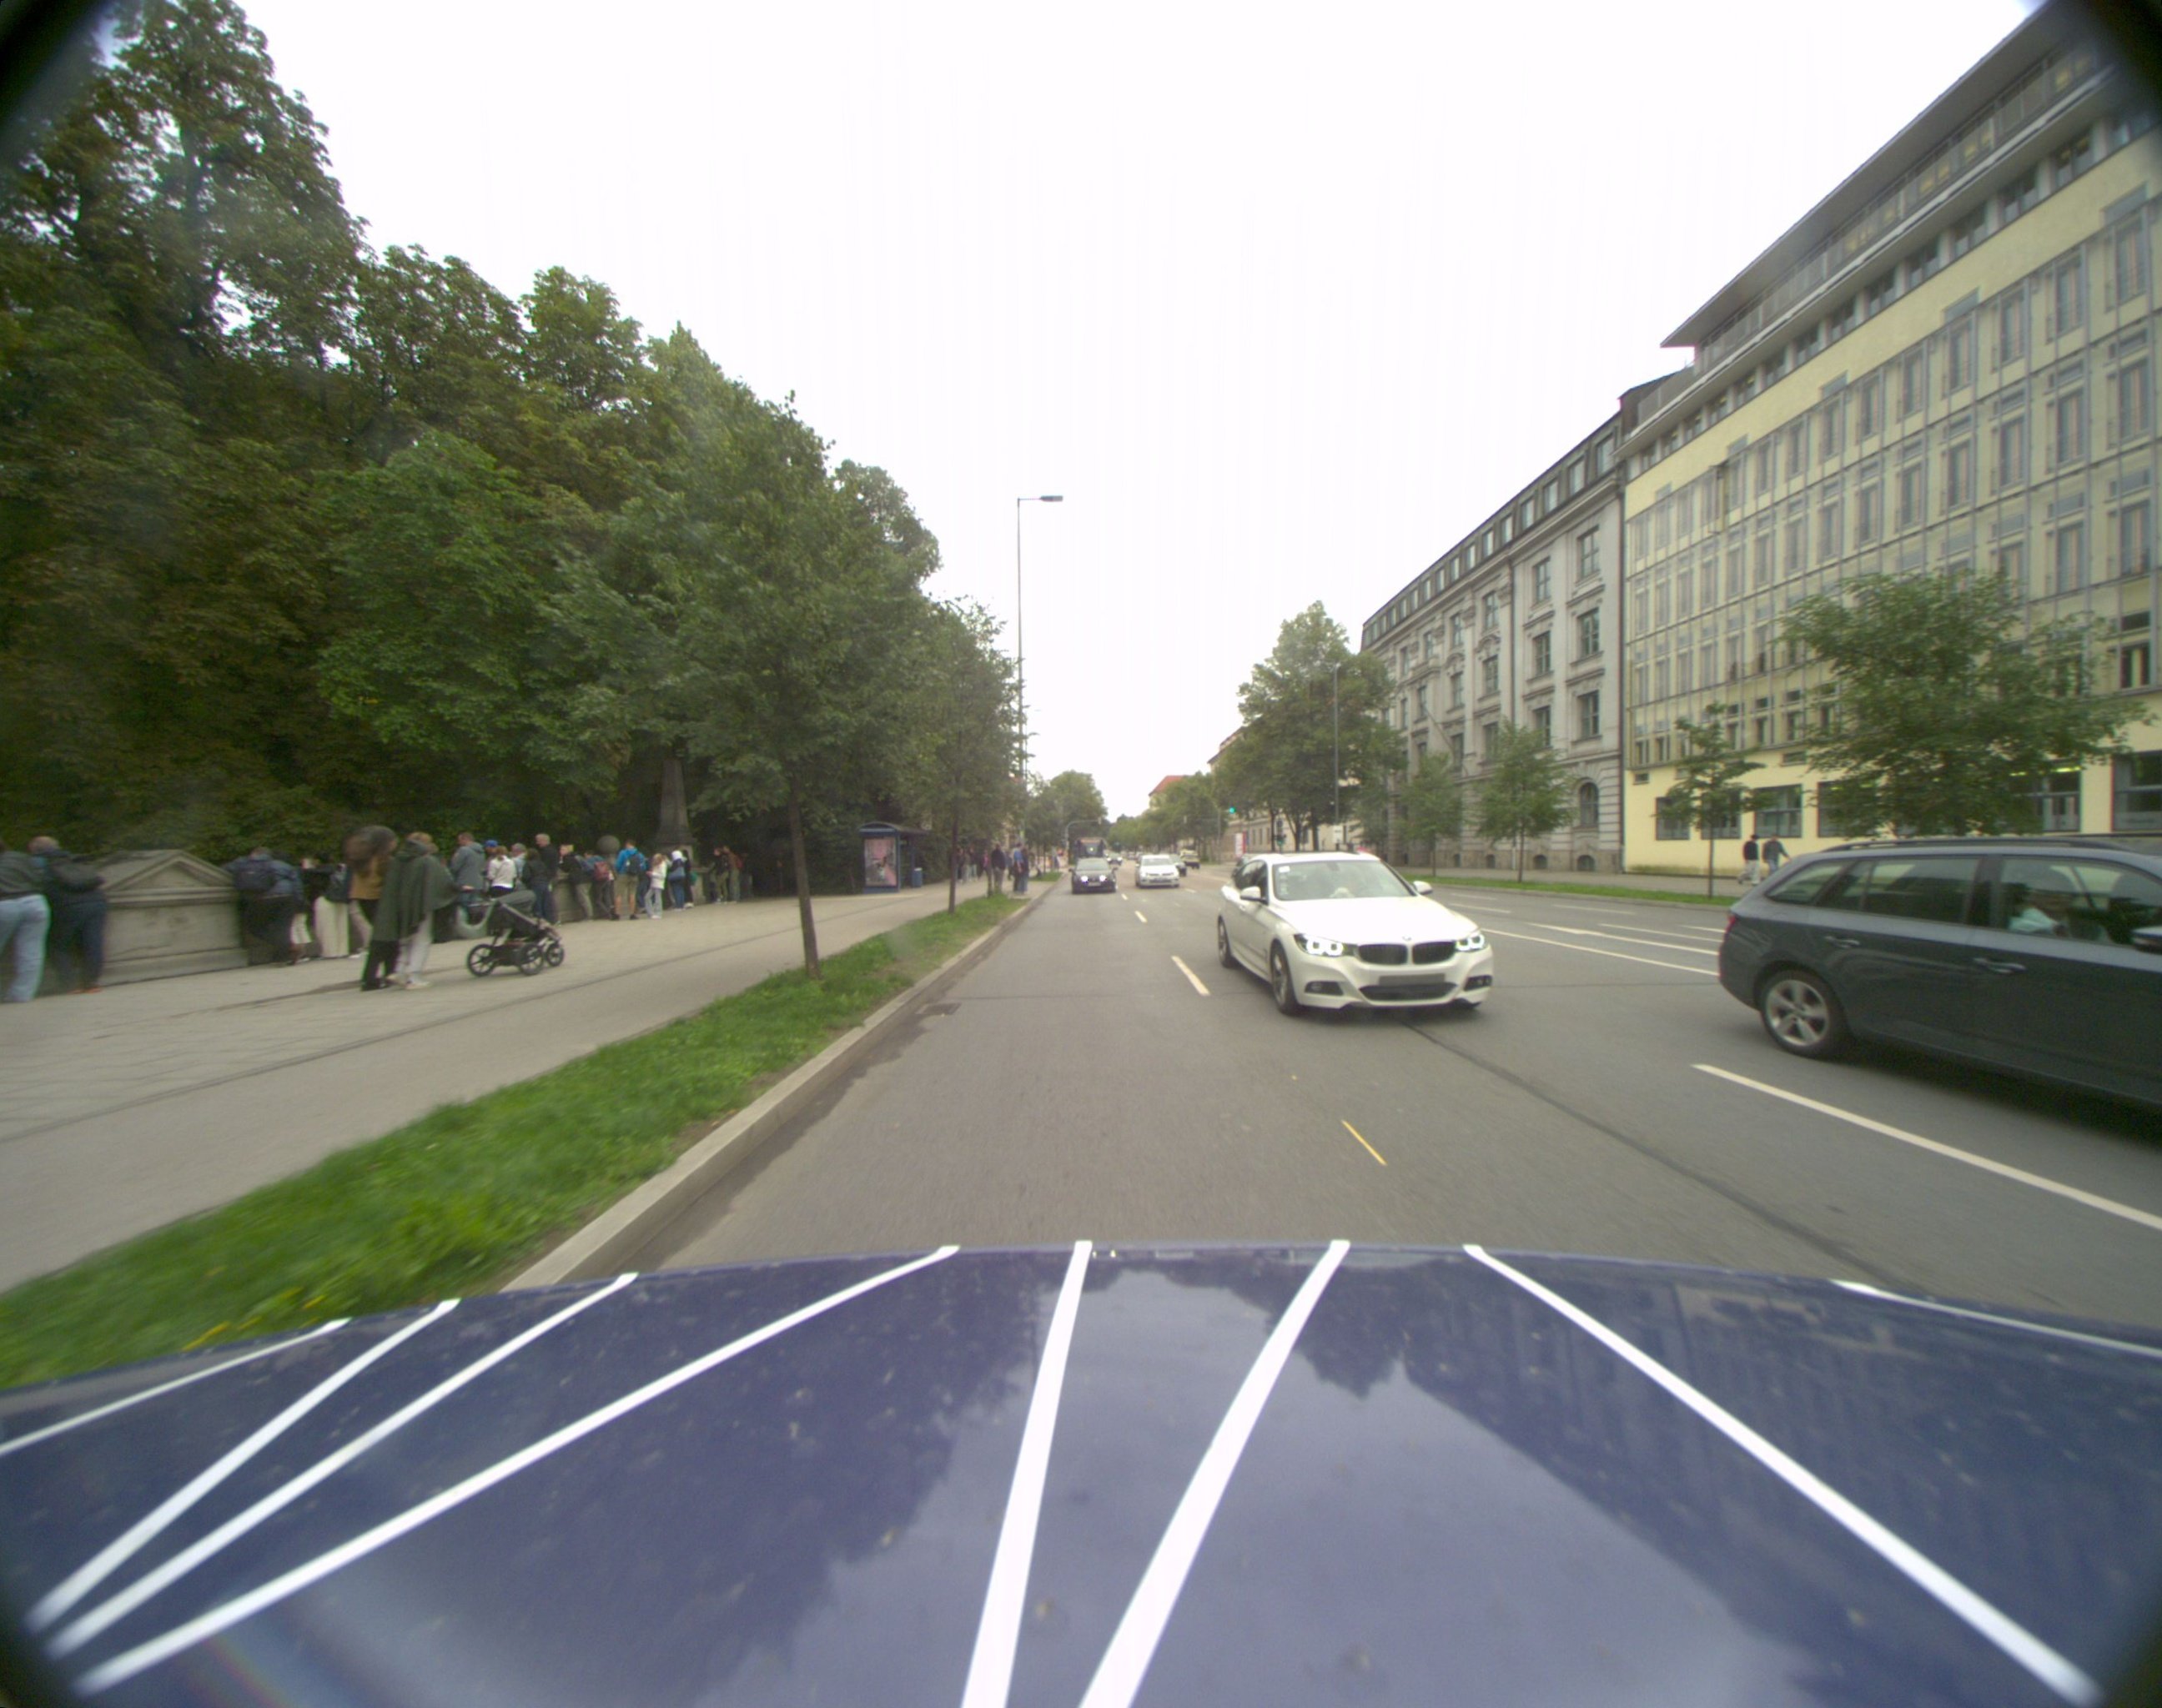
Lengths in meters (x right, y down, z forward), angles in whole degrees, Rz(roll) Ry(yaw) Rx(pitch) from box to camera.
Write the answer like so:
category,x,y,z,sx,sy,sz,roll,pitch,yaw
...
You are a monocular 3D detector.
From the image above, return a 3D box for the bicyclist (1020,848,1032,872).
category,x,y,z,sx,sy,sz,roll,pitch,yaw
bicyclist,-3.918,0.405,53.855,0.759,1.657,0.898,-2,1,-4

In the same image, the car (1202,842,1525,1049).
category,x,y,z,sx,sy,sz,roll,pitch,yaw
car,2.640,0.690,8.544,1.797,1.627,5.025,-1,1,0

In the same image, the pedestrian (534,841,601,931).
category,x,y,z,sx,sy,sz,roll,pitch,yaw
pedestrian,-10.820,0.656,16.021,0.814,1.841,0.729,-2,1,3

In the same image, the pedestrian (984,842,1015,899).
category,x,y,z,sx,sy,sz,roll,pitch,yaw
pedestrian,-2.752,0.550,25.716,0.804,1.870,0.545,-1,1,37

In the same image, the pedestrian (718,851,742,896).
category,x,y,z,sx,sy,sz,roll,pitch,yaw
pedestrian,-13.977,0.783,30.297,0.636,1.758,0.534,-1,1,32

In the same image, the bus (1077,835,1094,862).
category,x,y,z,sx,sy,sz,roll,pitch,yaw
bus,0.493,-0.548,75.842,1.638,2.570,6.701,-1,0,1

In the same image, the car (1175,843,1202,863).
category,x,y,z,sx,sy,sz,roll,pitch,yaw
car,9.565,-0.085,67.711,1.861,1.738,4.629,1,1,1

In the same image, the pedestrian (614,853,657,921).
category,x,y,z,sx,sy,sz,roll,pitch,yaw
pedestrian,-10.842,0.792,18.505,0.637,1.607,0.533,-2,1,3

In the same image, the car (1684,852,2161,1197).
category,x,y,z,sx,sy,sz,roll,pitch,yaw
car,5.573,0.749,3.762,1.797,1.439,4.274,-1,1,0

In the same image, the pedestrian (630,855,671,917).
category,x,y,z,sx,sy,sz,roll,pitch,yaw
pedestrian,-10.771,0.784,19.008,0.637,1.499,0.533,-2,1,3

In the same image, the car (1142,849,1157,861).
category,x,y,z,sx,sy,sz,roll,pitch,yaw
car,9.802,0.164,108.738,1.832,1.533,4.824,0,-1,2

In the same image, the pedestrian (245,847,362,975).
category,x,y,z,sx,sy,sz,roll,pitch,yaw
pedestrian,-10.935,0.776,10.716,0.814,1.729,0.729,-2,1,3

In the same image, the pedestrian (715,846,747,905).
category,x,y,z,sx,sy,sz,roll,pitch,yaw
pedestrian,-10.673,0.651,23.165,0.637,1.758,0.533,-2,1,3

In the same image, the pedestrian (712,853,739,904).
category,x,y,z,sx,sy,sz,roll,pitch,yaw
pedestrian,-12.629,0.871,26.962,0.636,1.758,0.534,-1,1,32

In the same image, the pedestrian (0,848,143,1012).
category,x,y,z,sx,sy,sz,roll,pitch,yaw
pedestrian,-10.949,0.778,8.157,0.814,1.681,0.729,-1,1,3

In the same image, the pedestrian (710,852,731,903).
category,x,y,z,sx,sy,sz,roll,pitch,yaw
pedestrian,-12.080,0.776,25.463,0.421,1.694,0.442,-2,1,3

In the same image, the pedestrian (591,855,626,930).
category,x,y,z,sx,sy,sz,roll,pitch,yaw
pedestrian,-10.881,0.869,17.504,0.421,1.694,0.442,-2,1,2

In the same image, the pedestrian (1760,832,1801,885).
category,x,y,z,sx,sy,sz,roll,pitch,yaw
pedestrian,24.161,0.141,26.267,0.617,1.767,0.836,-2,1,1

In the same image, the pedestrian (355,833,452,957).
category,x,y,z,sx,sy,sz,roll,pitch,yaw
pedestrian,-10.848,0.642,12.192,0.814,1.906,0.729,-2,1,3

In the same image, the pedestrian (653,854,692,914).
category,x,y,z,sx,sy,sz,roll,pitch,yaw
pedestrian,-10.517,0.769,19.579,0.637,1.499,0.533,-2,1,3

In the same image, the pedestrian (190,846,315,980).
category,x,y,z,sx,sy,sz,roll,pitch,yaw
pedestrian,-10.777,0.740,9.911,0.814,1.681,0.729,0,1,3

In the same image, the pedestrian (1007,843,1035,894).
category,x,y,z,sx,sy,sz,roll,pitch,yaw
pedestrian,-2.148,0.518,27.305,0.637,1.798,0.711,-1,1,37

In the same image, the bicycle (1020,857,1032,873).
category,x,y,z,sx,sy,sz,roll,pitch,yaw
bicycle,-3.932,0.788,53.885,0.740,1.051,2.161,-2,1,-6

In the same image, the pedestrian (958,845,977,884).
category,x,y,z,sx,sy,sz,roll,pitch,yaw
pedestrian,-5.386,0.491,36.088,0.710,1.798,0.639,-2,1,1

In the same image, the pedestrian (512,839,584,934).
category,x,y,z,sx,sy,sz,roll,pitch,yaw
pedestrian,-10.627,0.630,15.170,0.814,1.841,0.729,-2,1,3

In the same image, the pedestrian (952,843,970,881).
category,x,y,z,sx,sy,sz,roll,pitch,yaw
pedestrian,-6.126,0.389,38.773,0.710,1.904,0.956,-2,1,1

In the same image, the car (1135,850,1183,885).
category,x,y,z,sx,sy,sz,roll,pitch,yaw
car,3.466,0.576,34.463,1.797,1.439,4.274,-1,1,0

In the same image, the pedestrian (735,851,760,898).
category,x,y,z,sx,sy,sz,roll,pitch,yaw
pedestrian,-12.676,0.773,28.908,0.636,1.758,0.534,-1,1,32

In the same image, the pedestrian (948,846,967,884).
category,x,y,z,sx,sy,sz,roll,pitch,yaw
pedestrian,-5.997,0.504,36.957,0.710,1.798,0.950,-2,1,1

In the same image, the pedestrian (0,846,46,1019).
category,x,y,z,sx,sy,sz,roll,pitch,yaw
pedestrian,-10.947,0.767,7.365,0.814,1.681,0.729,0,1,3

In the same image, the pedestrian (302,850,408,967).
category,x,y,z,sx,sy,sz,roll,pitch,yaw
pedestrian,-10.906,0.797,11.443,0.814,1.681,0.729,-2,1,3

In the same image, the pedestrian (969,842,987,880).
category,x,y,z,sx,sy,sz,roll,pitch,yaw
pedestrian,-5.326,0.357,39.163,0.710,1.904,0.956,-2,1,1

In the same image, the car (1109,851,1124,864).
category,x,y,z,sx,sy,sz,roll,pitch,yaw
car,4.406,0.430,94.404,1.638,1.562,3.945,-1,0,1

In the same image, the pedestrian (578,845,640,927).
category,x,y,z,sx,sy,sz,roll,pitch,yaw
pedestrian,-10.437,0.689,16.825,0.814,1.758,0.729,-2,1,3

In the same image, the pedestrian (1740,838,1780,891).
category,x,y,z,sx,sy,sz,roll,pitch,yaw
pedestrian,23.488,0.351,26.283,0.617,1.767,0.836,-2,1,1

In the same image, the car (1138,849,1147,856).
category,x,y,z,sx,sy,sz,roll,pitch,yaw
car,13.305,-0.326,164.060,1.748,1.586,4.000,1,0,0

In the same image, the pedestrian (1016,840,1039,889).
category,x,y,z,sx,sy,sz,roll,pitch,yaw
pedestrian,-1.976,0.381,28.093,0.710,1.798,0.639,-2,1,1

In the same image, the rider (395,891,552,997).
category,x,y,z,sx,sy,sz,roll,pitch,yaw
rider,-7.237,1.041,9.126,0.766,1.106,1.244,-2,1,6

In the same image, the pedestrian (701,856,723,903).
category,x,y,z,sx,sy,sz,roll,pitch,yaw
pedestrian,-12.125,0.838,24.979,0.421,1.499,0.442,-2,1,3

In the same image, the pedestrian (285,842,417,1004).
category,x,y,z,sx,sy,sz,roll,pitch,yaw
pedestrian,-7.892,0.721,8.244,0.728,1.681,0.648,-2,1,6

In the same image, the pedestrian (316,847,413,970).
category,x,y,z,sx,sy,sz,roll,pitch,yaw
pedestrian,-10.203,0.747,10.840,0.593,1.681,0.729,-2,1,3

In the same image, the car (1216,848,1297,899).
category,x,y,z,sx,sy,sz,roll,pitch,yaw
car,5.691,0.564,25.140,1.696,1.507,4.338,-1,1,0

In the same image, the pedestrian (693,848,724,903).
category,x,y,z,sx,sy,sz,roll,pitch,yaw
pedestrian,-12.000,0.685,24.470,0.637,1.758,0.533,-2,1,3

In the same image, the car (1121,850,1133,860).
category,x,y,z,sx,sy,sz,roll,pitch,yaw
car,7.324,0.211,121.445,1.638,1.562,3.945,-1,0,1

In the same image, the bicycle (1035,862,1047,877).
category,x,y,z,sx,sy,sz,roll,pitch,yaw
bicycle,-2.283,0.872,43.228,0.494,0.789,1.889,-2,1,1

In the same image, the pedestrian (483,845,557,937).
category,x,y,z,sx,sy,sz,roll,pitch,yaw
pedestrian,-10.659,0.693,14.453,0.814,1.681,0.673,-2,1,3

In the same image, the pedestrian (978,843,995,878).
category,x,y,z,sx,sy,sz,roll,pitch,yaw
pedestrian,-5.152,0.342,41.441,0.753,1.828,0.756,-2,1,2

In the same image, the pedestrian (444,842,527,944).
category,x,y,z,sx,sy,sz,roll,pitch,yaw
pedestrian,-10.744,0.681,13.732,0.814,1.780,0.729,-2,1,3

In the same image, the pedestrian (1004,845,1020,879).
category,x,y,z,sx,sy,sz,roll,pitch,yaw
pedestrian,-3.759,0.431,41.440,0.672,1.828,0.641,-2,1,2

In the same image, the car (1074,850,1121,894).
category,x,y,z,sx,sy,sz,roll,pitch,yaw
car,0.661,0.686,31.565,1.797,1.627,4.274,-1,1,0

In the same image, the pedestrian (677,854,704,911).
category,x,y,z,sx,sy,sz,roll,pitch,yaw
pedestrian,-10.548,0.762,20.529,0.421,1.499,0.442,-2,1,3

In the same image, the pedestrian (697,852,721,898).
category,x,y,z,sx,sy,sz,roll,pitch,yaw
pedestrian,-14.450,0.808,29.491,0.636,1.756,0.534,-1,-3,32

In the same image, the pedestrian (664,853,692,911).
category,x,y,z,sx,sy,sz,roll,pitch,yaw
pedestrian,-10.656,0.721,20.078,0.421,1.499,0.442,-2,1,3

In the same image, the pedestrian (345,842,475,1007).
category,x,y,z,sx,sy,sz,roll,pitch,yaw
pedestrian,-7.136,0.725,8.108,0.728,1.681,0.648,-2,1,6

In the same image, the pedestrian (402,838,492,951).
category,x,y,z,sx,sy,sz,roll,pitch,yaw
pedestrian,-10.797,0.671,12.967,0.814,1.864,0.729,-2,1,3

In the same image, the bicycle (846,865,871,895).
category,x,y,z,sx,sy,sz,roll,pitch,yaw
bicycle,-8.204,0.948,28.065,0.394,1.054,1.576,-2,1,1

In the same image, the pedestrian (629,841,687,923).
category,x,y,z,sx,sy,sz,roll,pitch,yaw
pedestrian,-9.741,0.634,17.518,0.814,1.819,0.729,-2,1,3

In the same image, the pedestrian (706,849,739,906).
category,x,y,z,sx,sy,sz,roll,pitch,yaw
pedestrian,-10.567,0.686,22.424,0.637,1.617,0.533,-2,1,3
